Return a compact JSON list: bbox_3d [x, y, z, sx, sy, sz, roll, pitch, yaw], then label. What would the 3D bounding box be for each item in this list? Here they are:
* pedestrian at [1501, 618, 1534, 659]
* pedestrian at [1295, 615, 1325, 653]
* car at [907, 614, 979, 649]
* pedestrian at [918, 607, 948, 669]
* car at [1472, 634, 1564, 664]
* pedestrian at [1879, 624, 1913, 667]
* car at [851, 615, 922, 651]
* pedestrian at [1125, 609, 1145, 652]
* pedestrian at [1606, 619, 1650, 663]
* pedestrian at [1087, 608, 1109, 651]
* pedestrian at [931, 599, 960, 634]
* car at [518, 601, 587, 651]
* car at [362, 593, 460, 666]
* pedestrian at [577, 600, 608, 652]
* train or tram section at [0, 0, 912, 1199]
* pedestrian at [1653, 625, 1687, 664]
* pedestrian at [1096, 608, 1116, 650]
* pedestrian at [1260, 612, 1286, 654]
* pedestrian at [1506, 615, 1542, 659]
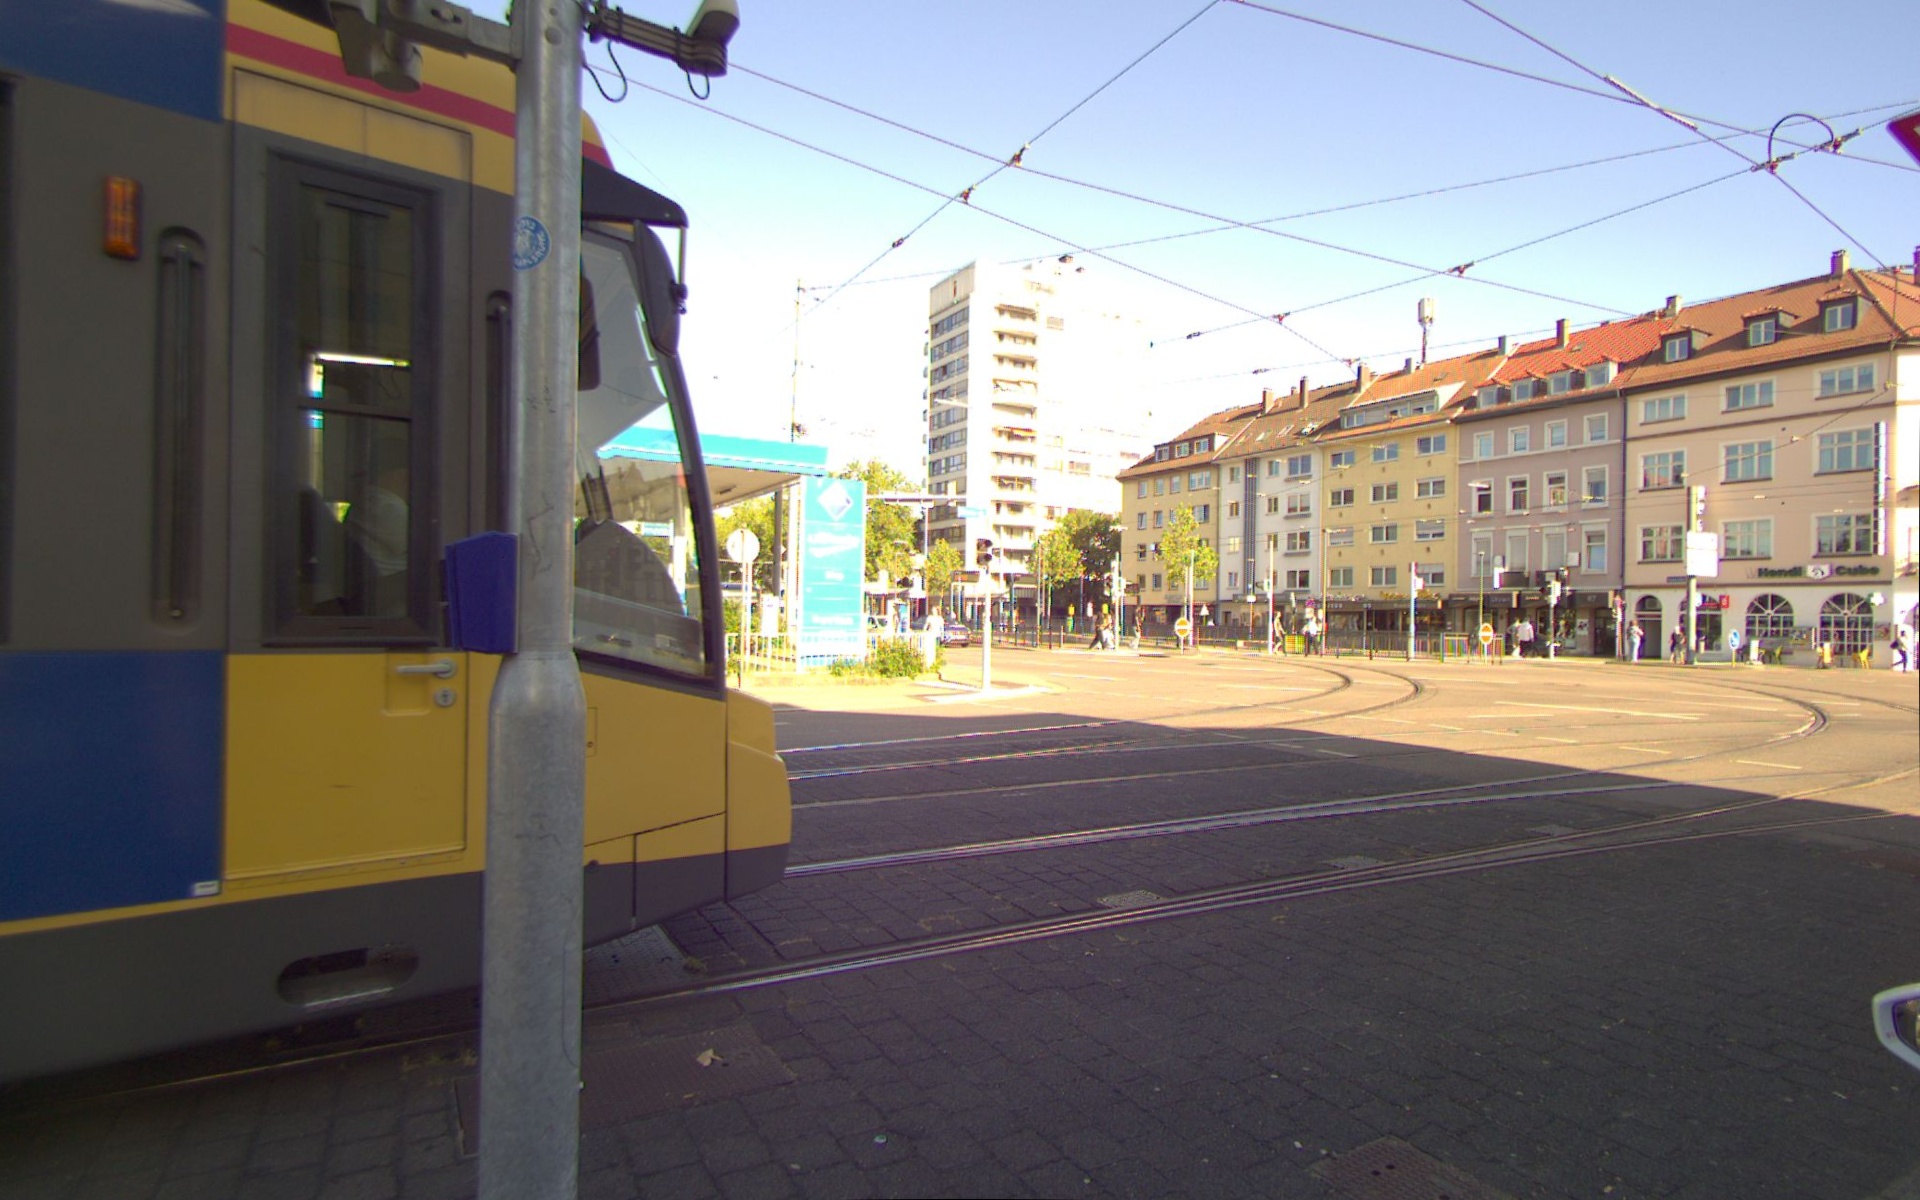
[{"bbox_3d":[24.474,1.677,44.103,0.924,1.779,0.934,1,-1,-30],"label":"pedestrian"},{"bbox_3d":[14.080,1.368,40.399,0.912,1.473,0.825,1,-1,3],"label":"pedestrian"},{"bbox_3d":[-0.850,1.486,48.317,1.863,1.601,3.971,1,-1,-28],"label":"car"},{"bbox_3d":[-0.730,1.022,27.126,0.702,1.641,1.105,1,-1,-6],"label":"pedestrian"},{"bbox_3d":[30.430,2.632,54.909,1.977,1.472,3.966,1,-1,-31],"label":"car"},{"bbox_3d":[39.328,1.905,42.206,1.035,1.767,0.804,0,-1,43],"label":"pedestrian"},{"bbox_3d":[-3.473,1.522,46.736,1.863,1.601,3.971,1,-1,-28],"label":"car"},{"bbox_3d":[7.324,1.274,42.003,0.774,1.794,0.679,1,-1,15],"label":"pedestrian"},{"bbox_3d":[26.650,1.613,40.070,1.091,1.707,1.075,1,-1,-30],"label":"pedestrian"},{"bbox_3d":[5.856,1.233,42.654,0.774,1.794,0.876,1,-1,15],"label":"pedestrian"},{"bbox_3d":[-0.794,0.910,54.518,1.156,1.870,1.098,2,-1,-28],"label":"pedestrian"},{"bbox_3d":[-13.446,0.833,33.013,1.725,1.431,4.061,5,-2,-26],"label":"car"},{"bbox_3d":[-12.312,0.637,22.510,1.760,1.483,3.968,1,-1,-30],"label":"car"},{"bbox_3d":[-11.747,0.825,32.081,0.802,1.647,1.156,1,-1,-26],"label":"pedestrian"},{"bbox_3d":[-5.977,-0.532,1.471,11.887,3.546,2.757,1,-1,-30],"label":"train or tram section"},{"bbox_3d":[34.074,2.125,48.206,0.926,1.798,1.006,1,-1,-15],"label":"pedestrian"},{"bbox_3d":[6.318,1.250,43.363,0.774,1.794,0.679,1,-1,15],"label":"pedestrian"},{"bbox_3d":[12.720,1.326,40.855,0.932,1.677,0.828,1,-1,12],"label":"pedestrian"},{"bbox_3d":[23.385,1.514,41.645,0.924,1.779,0.934,1,-1,-30],"label":"pedestrian"}]
